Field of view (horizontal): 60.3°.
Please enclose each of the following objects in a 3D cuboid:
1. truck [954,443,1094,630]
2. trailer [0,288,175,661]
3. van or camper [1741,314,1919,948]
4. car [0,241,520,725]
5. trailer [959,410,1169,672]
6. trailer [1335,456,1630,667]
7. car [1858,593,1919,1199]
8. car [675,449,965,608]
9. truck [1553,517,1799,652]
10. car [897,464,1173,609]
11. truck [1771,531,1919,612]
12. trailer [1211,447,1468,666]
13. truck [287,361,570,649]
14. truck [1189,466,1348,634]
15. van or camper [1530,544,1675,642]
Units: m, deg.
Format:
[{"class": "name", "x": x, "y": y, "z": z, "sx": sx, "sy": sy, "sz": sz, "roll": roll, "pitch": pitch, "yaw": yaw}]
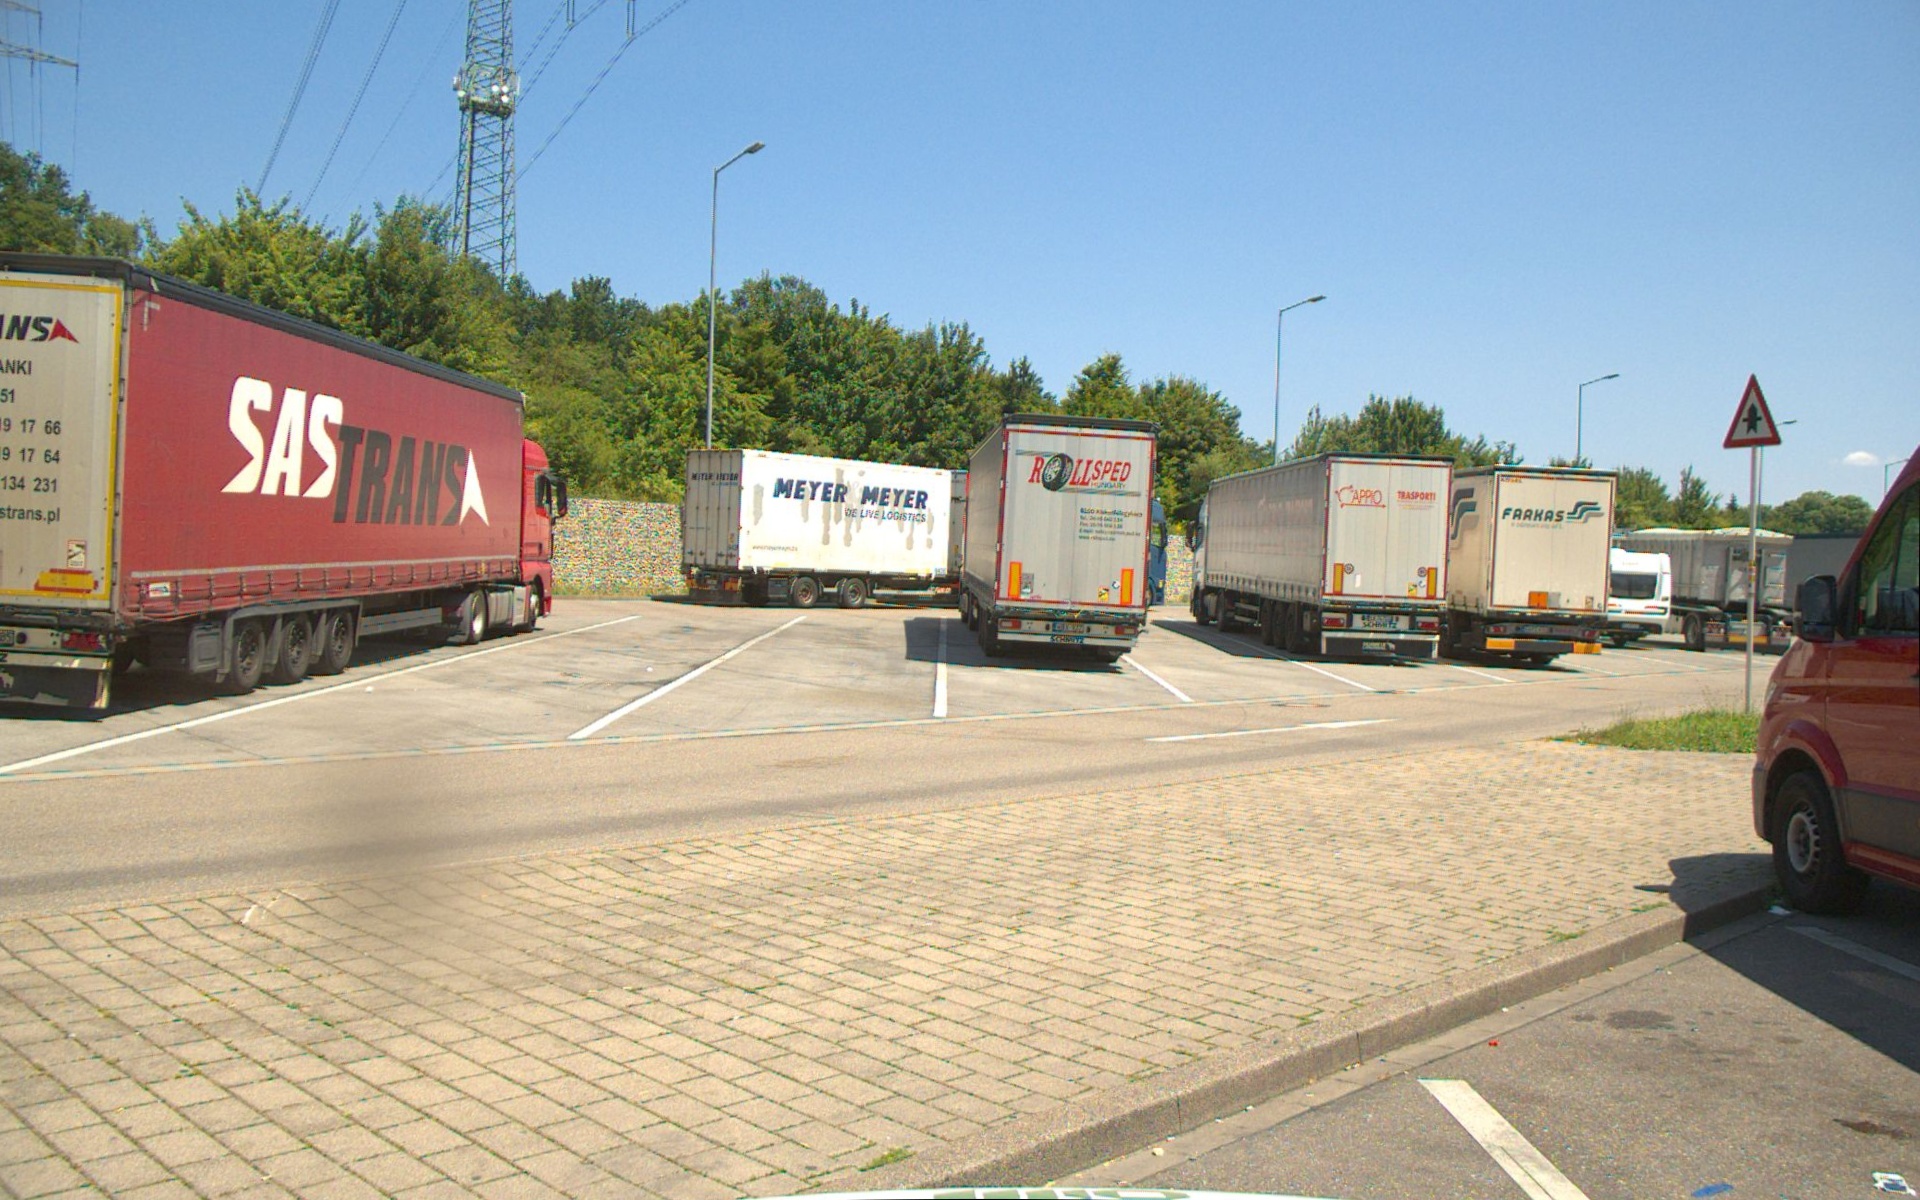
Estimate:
[{"class": "truck", "x": 1.428, "y": -1.570, "z": 40.730, "sx": 2.809, "sy": 4.107, "sz": 7.026, "roll": 2, "pitch": 2, "yaw": -2}, {"class": "trailer", "x": -12.543, "y": -1.405, "z": 17.142, "sx": 2.756, "sy": 4.341, "sz": 12.940, "roll": 2, "pitch": 2, "yaw": -1}, {"class": "van or camper", "x": 4.994, "y": 0.167, "z": 5.539, "sx": 1.954, "sy": 2.700, "sz": 6.482, "roll": 1, "pitch": 1, "yaw": 3}, {"class": "car", "x": -8.672, "y": -1.281, "z": 20.940, "sx": 2.641, "sy": 4.184, "sz": 12.935, "roll": 2, "pitch": 2, "yaw": 0}, {"class": "trailer", "x": 1.658, "y": -1.244, "z": 33.649, "sx": 2.809, "sy": 4.107, "sz": 14.238, "roll": 2, "pitch": 2, "yaw": -2}, {"class": "trailer", "x": 11.827, "y": -1.032, "z": 39.202, "sx": 2.808, "sy": 4.107, "sz": 12.438, "roll": 2, "pitch": 2, "yaw": -1}, {"class": "car", "x": 2.544, "y": 0.789, "z": 1.092, "sx": 1.584, "sy": 1.509, "sz": 3.762, "roll": 1, "pitch": 1, "yaw": -6}, {"class": "car", "x": -3.798, "y": -1.921, "z": 46.906, "sx": 2.644, "sy": 4.114, "sz": 8.409, "roll": 5, "pitch": 3, "yaw": 44}, {"class": "truck", "x": 21.753, "y": -0.661, "z": 51.223, "sx": 2.437, "sy": 3.630, "sz": 11.423, "roll": 2, "pitch": 2, "yaw": -1}, {"class": "car", "x": 2.634, "y": -1.930, "z": 53.517, "sx": 2.645, "sy": 4.261, "sz": 10.142, "roll": 5, "pitch": 3, "yaw": 45}, {"class": "truck", "x": 34.707, "y": -1.084, "z": 63.615, "sx": 2.082, "sy": 2.869, "sz": 9.777, "roll": 1, "pitch": 1, "yaw": -1}, {"class": "trailer", "x": 8.250, "y": -1.096, "z": 38.084, "sx": 2.808, "sy": 4.107, "sz": 12.438, "roll": 2, "pitch": 2, "yaw": -1}, {"class": "truck", "x": -8.693, "y": -1.529, "z": 27.858, "sx": 2.641, "sy": 4.184, "sz": 6.239, "roll": 2, "pitch": 2, "yaw": 0}, {"class": "truck", "x": 8.171, "y": -1.391, "z": 44.715, "sx": 2.808, "sy": 4.107, "sz": 6.956, "roll": 2, "pitch": 2, "yaw": -1}, {"class": "van or camper", "x": 18.272, "y": -0.232, "z": 47.327, "sx": 2.061, "sy": 2.606, "sz": 5.372, "roll": 1, "pitch": 1, "yaw": 0}]
